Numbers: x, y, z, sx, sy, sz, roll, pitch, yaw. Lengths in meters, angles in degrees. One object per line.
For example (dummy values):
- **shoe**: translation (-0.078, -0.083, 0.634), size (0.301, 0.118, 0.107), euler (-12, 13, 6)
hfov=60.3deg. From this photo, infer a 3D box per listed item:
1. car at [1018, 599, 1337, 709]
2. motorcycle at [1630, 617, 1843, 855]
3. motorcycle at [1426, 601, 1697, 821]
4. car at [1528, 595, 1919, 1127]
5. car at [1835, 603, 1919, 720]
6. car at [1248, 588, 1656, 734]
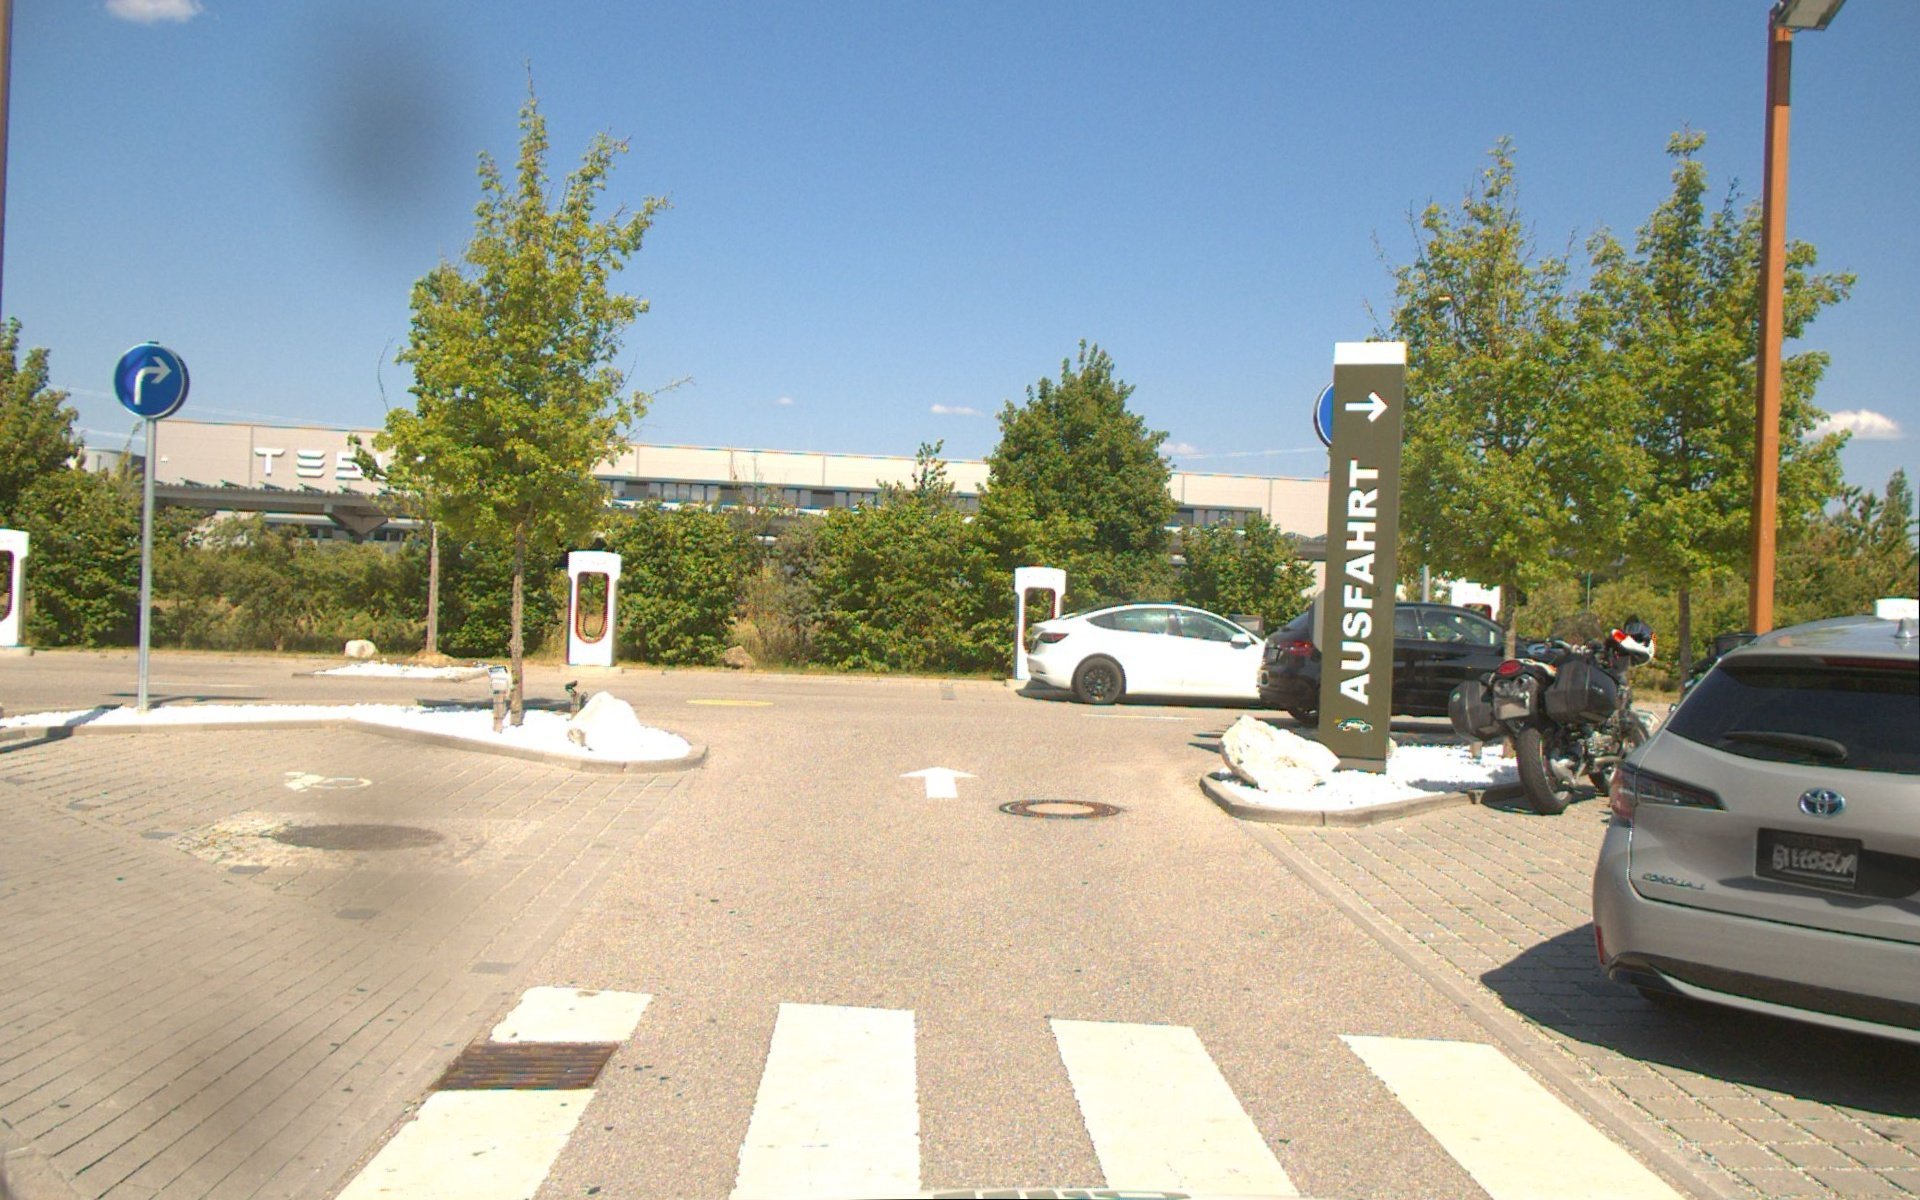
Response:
- **car**: translation (3.046, 0.752, 23.859), size (4.343, 1.401, 1.822), euler (2, 0, 0)
- **motorcycle**: translation (4.846, 0.764, 10.231), size (0.804, 1.252, 2.133), euler (2, 1, 35)
- **motorcycle**: translation (4.167, 0.683, 11.338), size (1.051, 1.272, 2.241), euler (3, 3, 39)
- **car**: translation (4.153, 0.750, 6.479), size (4.628, 1.472, 1.806), euler (0, 1, -45)
- **car**: translation (15.580, 0.936, 24.384), size (4.384, 1.628, 1.869), euler (2, 0, -2)
- **car**: translation (5.440, 0.676, 18.668), size (4.113, 1.466, 1.699), euler (1, -2, 3)
